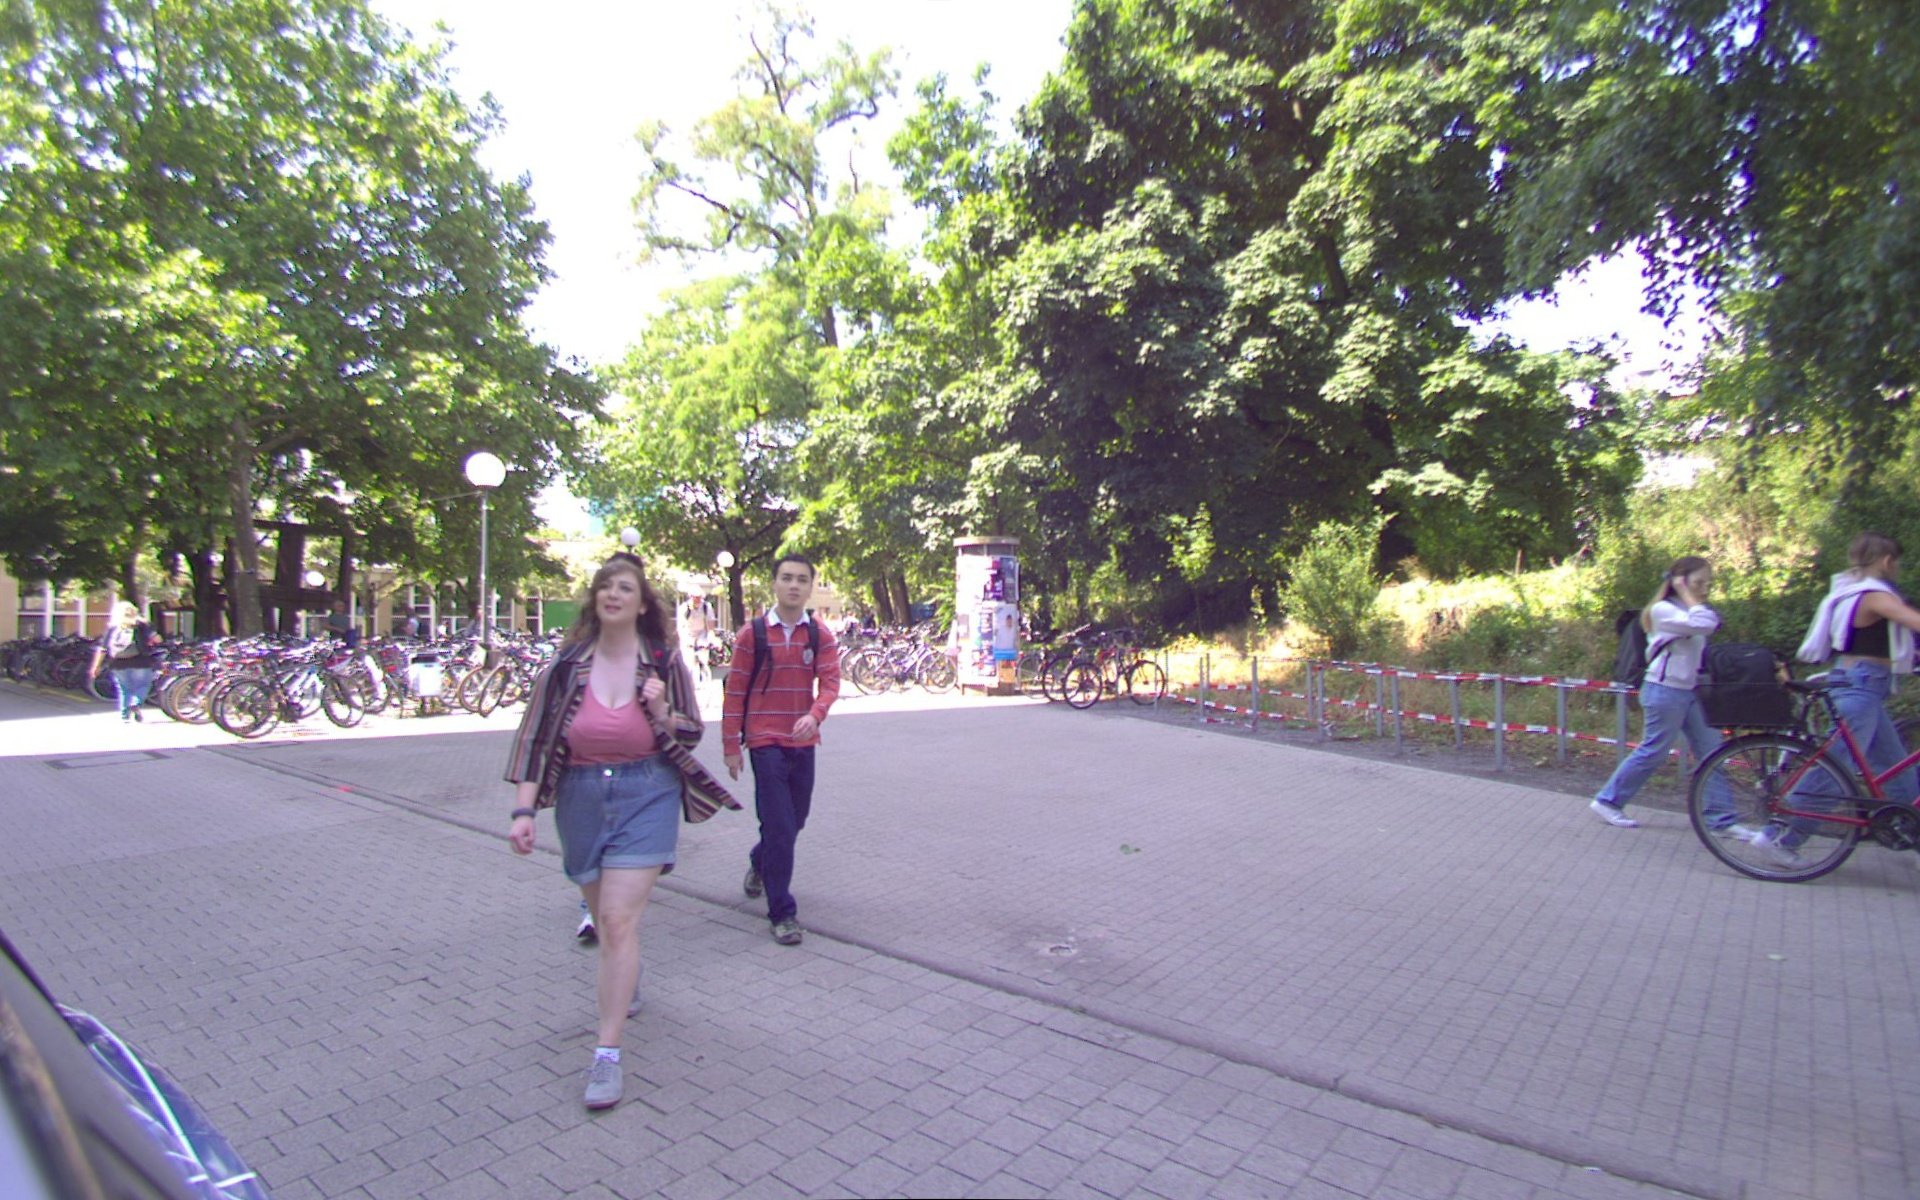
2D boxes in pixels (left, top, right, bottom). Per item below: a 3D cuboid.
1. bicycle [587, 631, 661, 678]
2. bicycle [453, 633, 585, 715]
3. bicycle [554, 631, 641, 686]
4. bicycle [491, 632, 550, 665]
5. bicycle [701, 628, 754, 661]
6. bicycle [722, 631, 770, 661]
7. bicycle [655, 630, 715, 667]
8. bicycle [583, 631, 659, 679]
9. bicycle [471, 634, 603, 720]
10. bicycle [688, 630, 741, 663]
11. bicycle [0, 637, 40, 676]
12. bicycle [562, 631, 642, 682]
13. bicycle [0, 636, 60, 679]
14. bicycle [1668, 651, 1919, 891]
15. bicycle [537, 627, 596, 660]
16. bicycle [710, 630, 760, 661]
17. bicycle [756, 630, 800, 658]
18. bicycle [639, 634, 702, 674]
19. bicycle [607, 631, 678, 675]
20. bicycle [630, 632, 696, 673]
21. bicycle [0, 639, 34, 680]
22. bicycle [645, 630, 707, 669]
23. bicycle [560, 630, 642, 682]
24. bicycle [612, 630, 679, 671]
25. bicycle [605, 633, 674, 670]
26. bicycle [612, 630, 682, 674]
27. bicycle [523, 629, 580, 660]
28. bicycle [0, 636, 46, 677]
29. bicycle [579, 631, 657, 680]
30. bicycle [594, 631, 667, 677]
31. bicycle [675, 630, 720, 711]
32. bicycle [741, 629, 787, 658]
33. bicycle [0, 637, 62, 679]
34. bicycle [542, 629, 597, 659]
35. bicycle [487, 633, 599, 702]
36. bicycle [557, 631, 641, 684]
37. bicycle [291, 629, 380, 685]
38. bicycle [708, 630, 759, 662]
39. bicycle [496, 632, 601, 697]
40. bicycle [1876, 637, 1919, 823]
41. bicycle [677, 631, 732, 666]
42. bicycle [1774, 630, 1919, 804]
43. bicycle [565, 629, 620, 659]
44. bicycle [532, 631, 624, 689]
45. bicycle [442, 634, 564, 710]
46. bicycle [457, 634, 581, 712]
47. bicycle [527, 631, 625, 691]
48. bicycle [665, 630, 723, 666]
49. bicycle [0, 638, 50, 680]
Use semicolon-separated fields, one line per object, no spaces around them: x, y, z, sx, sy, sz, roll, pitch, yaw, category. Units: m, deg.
-8.095;1.306;24.413;1.671;1.092;0.475;0;-1;-15;bicycle
-6.420;1.055;14.776;1.695;1.092;0.475;0;-1;-35;bicycle
-7.573;1.207;21.202;1.671;1.092;0.475;0;-1;-15;bicycle
-15.003;1.655;34.521;1.886;1.116;0.501;-1;-1;10;bicycle
-7.979;1.521;34.751;1.676;1.092;0.474;-1;-1;1;bicycle
-7.821;1.678;37.019;1.679;1.092;0.473;-1;-1;7;bicycle
-8.290;1.464;30.510;1.676;1.092;0.474;-1;-1;1;bicycle
-8.002;1.286;23.928;1.671;1.092;0.475;0;-1;-15;bicycle
-6.010;1.063;14.426;1.672;1.118;0.475;0;-1;-38;bicycle
-8.186;1.548;33.756;1.676;1.092;0.474;-1;-1;1;bicycle
-28.264;1.669;29.842;0.496;1.116;1.608;-4;-4;39;bicycle
-8.050;1.255;22.800;1.671;1.092;0.475;0;-1;-15;bicycle
-25.604;1.558;27.564;0.497;1.116;1.606;-1;-1;45;bicycle
4.549;0.788;4.778;1.899;1.055;0.537;-1;-1;28;bicycle
-13.800;1.533;35.498;1.983;1.116;0.501;-1;-1;10;bicycle
-8.002;1.622;36.074;1.676;1.092;0.474;-1;-1;1;bicycle
-7.239;1.745;40.282;1.681;1.092;0.472;-1;-1;12;bicycle
-8.237;1.531;28.824;1.676;1.092;0.474;-1;-1;1;bicycle
-8.080;1.341;25.804;1.673;1.092;0.475;-1;-1;-7;bicycle
-8.211;1.441;28.006;1.676;1.092;0.474;-1;-1;1;bicycle
-27.479;1.704;28.824;0.497;1.116;1.606;-1;-1;45;bicycle
-8.250;1.432;29.416;1.676;1.092;0.474;-1;-1;1;bicycle
-7.908;1.231;22.346;1.671;1.092;0.475;0;-1;-15;bicycle
-8.529;1.372;27.494;1.676;1.092;0.474;-1;-1;1;bicycle
-8.539;1.369;26.988;1.716;0.969;0.452;-1;-1;1;bicycle
-8.144;1.355;26.346;1.673;1.092;0.475;-1;-1;-7;bicycle
-14.856;1.623;36.798;1.983;1.116;0.501;-1;-1;10;bicycle
-26.919;1.613;28.608;0.497;1.116;1.606;-1;-1;45;bicycle
-7.896;1.275;23.412;1.671;1.092;0.475;0;-1;-15;bicycle
-8.138;1.321;25.039;1.671;1.092;0.475;0;-1;-15;bicycle
-3.864;1.004;14.891;0.594;1.092;1.704;0;-1;-15;bicycle
-7.577;1.673;39.072;1.681;1.092;0.472;-1;-1;12;bicycle
-25.947;1.595;28.007;0.506;1.116;1.606;-1;-1;45;bicycle
-14.728;1.659;38.146;1.983;1.116;0.501;-1;-1;10;bicycle
-6.932;1.114;16.870;1.672;1.092;0.475;-1;-1;-8;bicycle
-7.714;1.218;21.672;1.671;1.092;0.475;0;-1;-15;bicycle
-14.186;1.288;23.005;1.676;1.209;0.575;-1;-1;1;bicycle
-7.910;1.606;35.413;1.676;1.092;0.474;-1;-1;1;bicycle
-7.292;1.129;17.971;1.672;1.092;0.475;-1;-1;-8;bicycle
6.366;0.735;5.857;1.675;1.055;0.474;-2;1;0;bicycle
-8.276;1.569;32.781;1.676;1.092;0.474;-1;-1;1;bicycle
6.255;0.723;6.480;1.675;1.055;0.474;-1;-1;0;bicycle
-14.178;1.690;39.060;2.006;1.116;0.501;-1;-1;8;bicycle
-7.565;1.177;20.093;1.671;1.092;0.475;0;-1;-15;bicycle
-7.053;1.090;15.644;1.670;1.092;0.475;0;-1;-30;bicycle
-6.637;1.081;15.269;1.670;1.092;0.475;0;-1;-30;bicycle
-7.246;1.141;19.127;1.671;1.092;0.475;-1;-1;-12;bicycle
-8.298;1.489;31.558;1.676;1.092;0.474;-1;-1;1;bicycle
-26.490;1.642;28.243;0.630;1.116;1.606;-1;-1;44;bicycle
